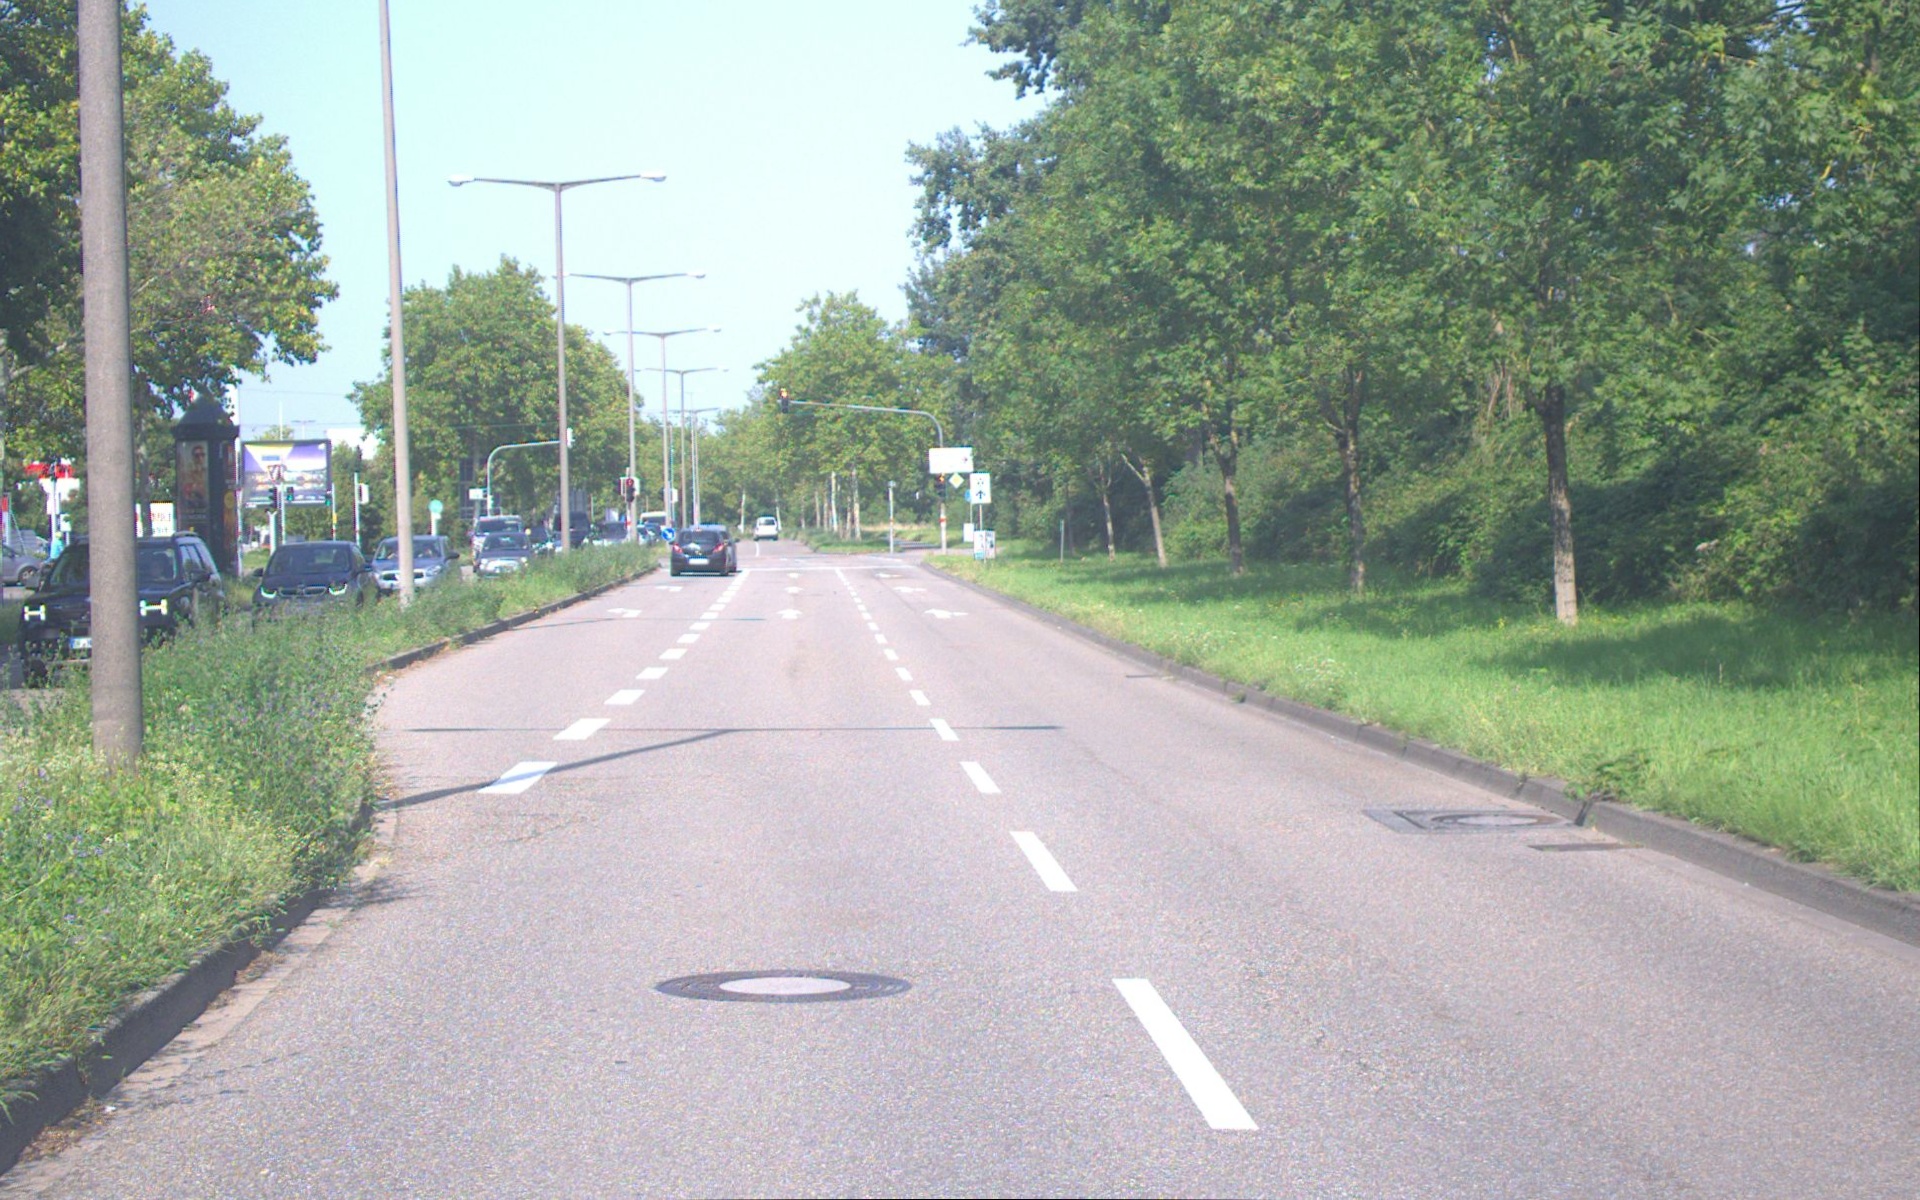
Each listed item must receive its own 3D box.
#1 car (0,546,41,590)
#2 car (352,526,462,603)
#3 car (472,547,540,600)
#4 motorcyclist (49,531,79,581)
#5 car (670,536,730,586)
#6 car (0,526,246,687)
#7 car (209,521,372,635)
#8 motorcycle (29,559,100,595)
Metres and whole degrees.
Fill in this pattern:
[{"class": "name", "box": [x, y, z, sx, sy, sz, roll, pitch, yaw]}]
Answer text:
[{"class": "car", "box": [-31.901, -1.027, 111.673, 3.691, 1.438, 1.466, -1, 1, -38]}, {"class": "car", "box": [-11.957, -0.782, 74.599, 1.879, 1.588, 4.109, -1, 1, -3]}, {"class": "car", "box": [-13.002, -0.762, 98.599, 1.676, 1.481, 3.493, 0, 1, -3]}, {"class": "motorcyclist", "box": [-28.750, -1.414, 110.309, 0.682, 1.566, 0.683, -1, 1, -38]}, {"class": "car", "box": [-7.957, -1.205, 105.394, 1.692, 1.480, 4.001, -1, 1, -3]}, {"class": "car", "box": [-10.108, 0.035, 41.814, 1.993, 1.753, 4.478, -3, 1, -2]}, {"class": "car", "box": [-11.251, -0.391, 58.022, 1.993, 1.753, 4.308, -3, 1, -2]}, {"class": "motorcycle", "box": [-28.731, -0.746, 110.323, 2.070, 1.132, 0.677, -1, 1, -38]}]
